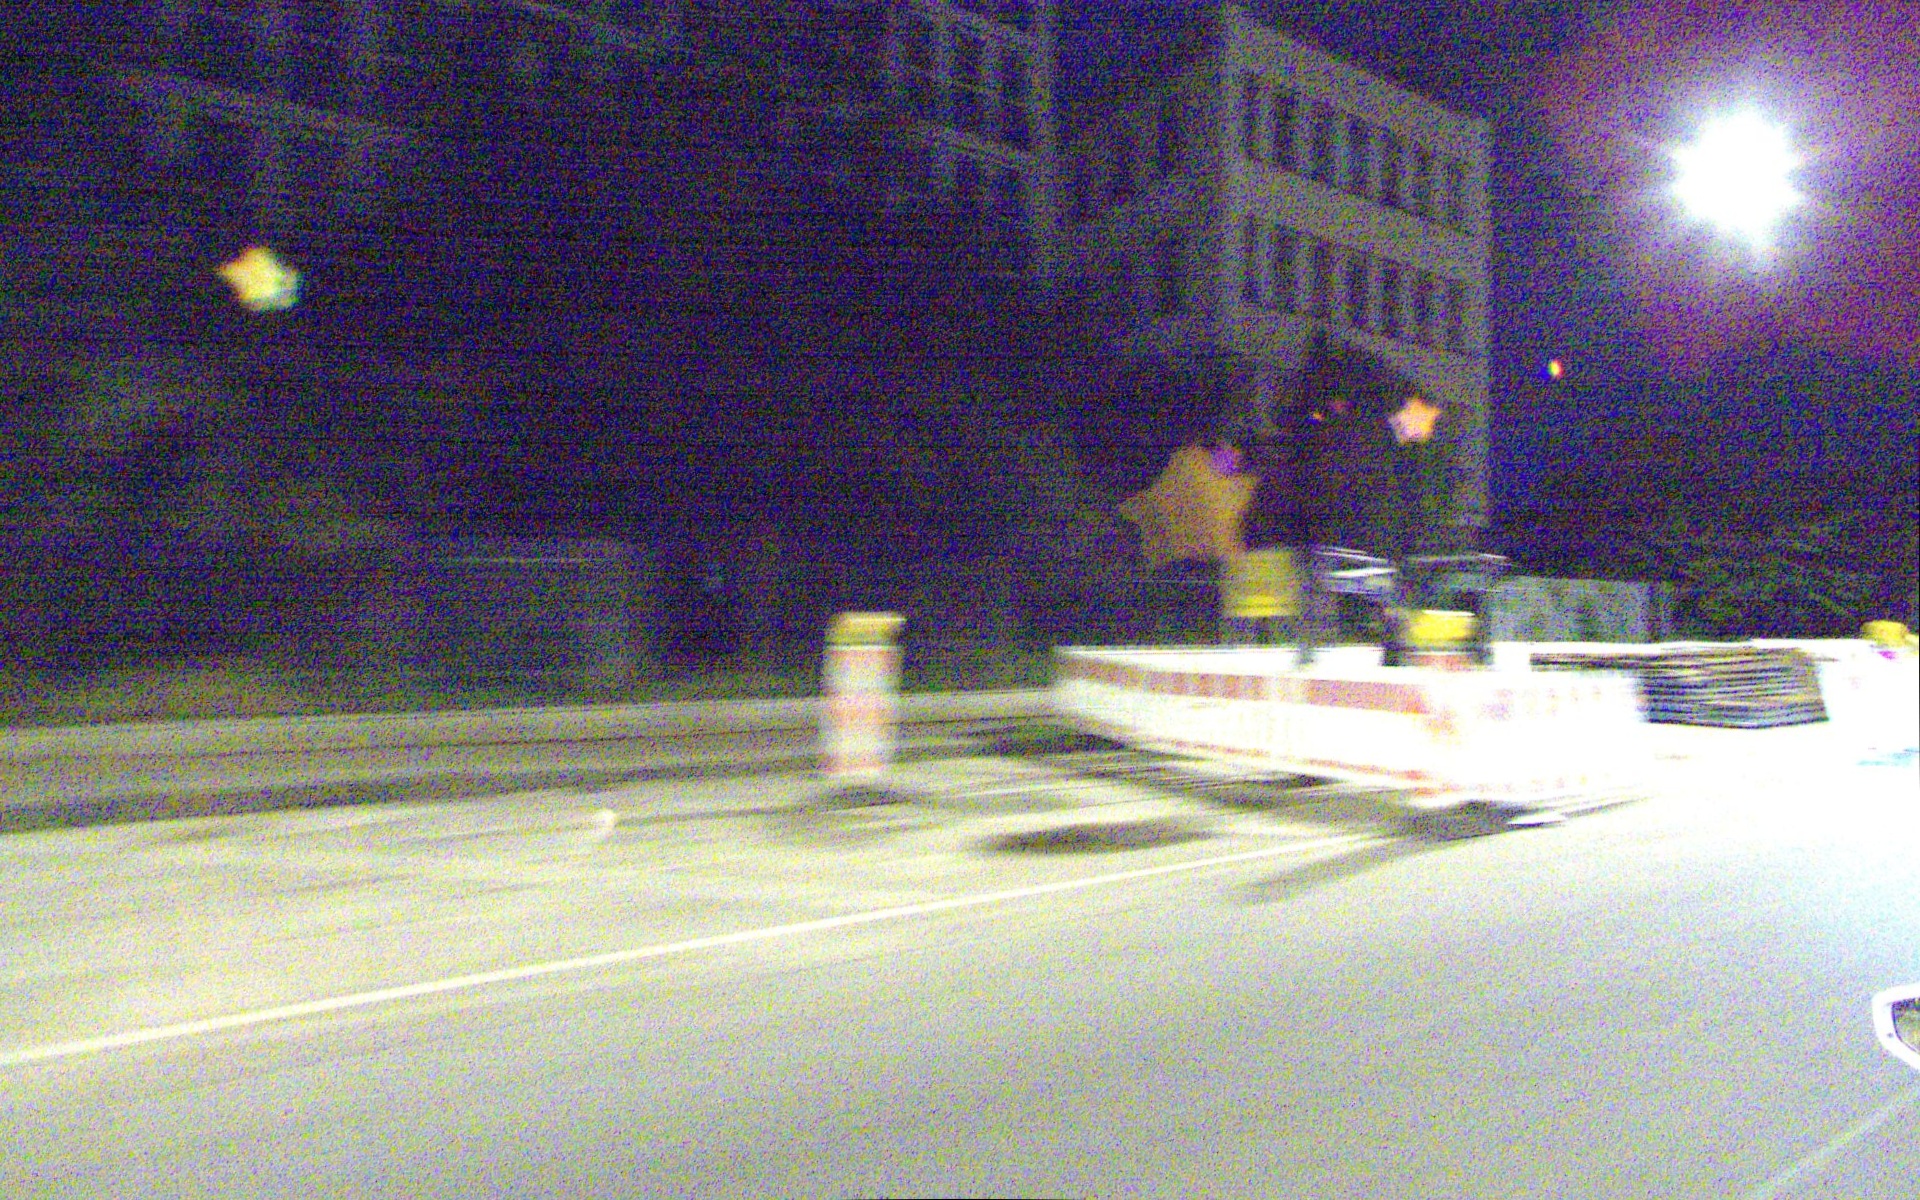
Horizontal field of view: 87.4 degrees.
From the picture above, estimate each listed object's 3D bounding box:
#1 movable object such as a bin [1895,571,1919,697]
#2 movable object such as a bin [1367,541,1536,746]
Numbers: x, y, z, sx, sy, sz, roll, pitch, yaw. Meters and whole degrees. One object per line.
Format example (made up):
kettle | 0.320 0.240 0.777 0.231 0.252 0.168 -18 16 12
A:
movable object such as a bin | 22.763 0.741 22.831 3.668 2.769 1.559 1 -3 -38
movable object such as a bin | 6.821 0.597 13.834 1.529 2.499 2.828 -1 -3 38
